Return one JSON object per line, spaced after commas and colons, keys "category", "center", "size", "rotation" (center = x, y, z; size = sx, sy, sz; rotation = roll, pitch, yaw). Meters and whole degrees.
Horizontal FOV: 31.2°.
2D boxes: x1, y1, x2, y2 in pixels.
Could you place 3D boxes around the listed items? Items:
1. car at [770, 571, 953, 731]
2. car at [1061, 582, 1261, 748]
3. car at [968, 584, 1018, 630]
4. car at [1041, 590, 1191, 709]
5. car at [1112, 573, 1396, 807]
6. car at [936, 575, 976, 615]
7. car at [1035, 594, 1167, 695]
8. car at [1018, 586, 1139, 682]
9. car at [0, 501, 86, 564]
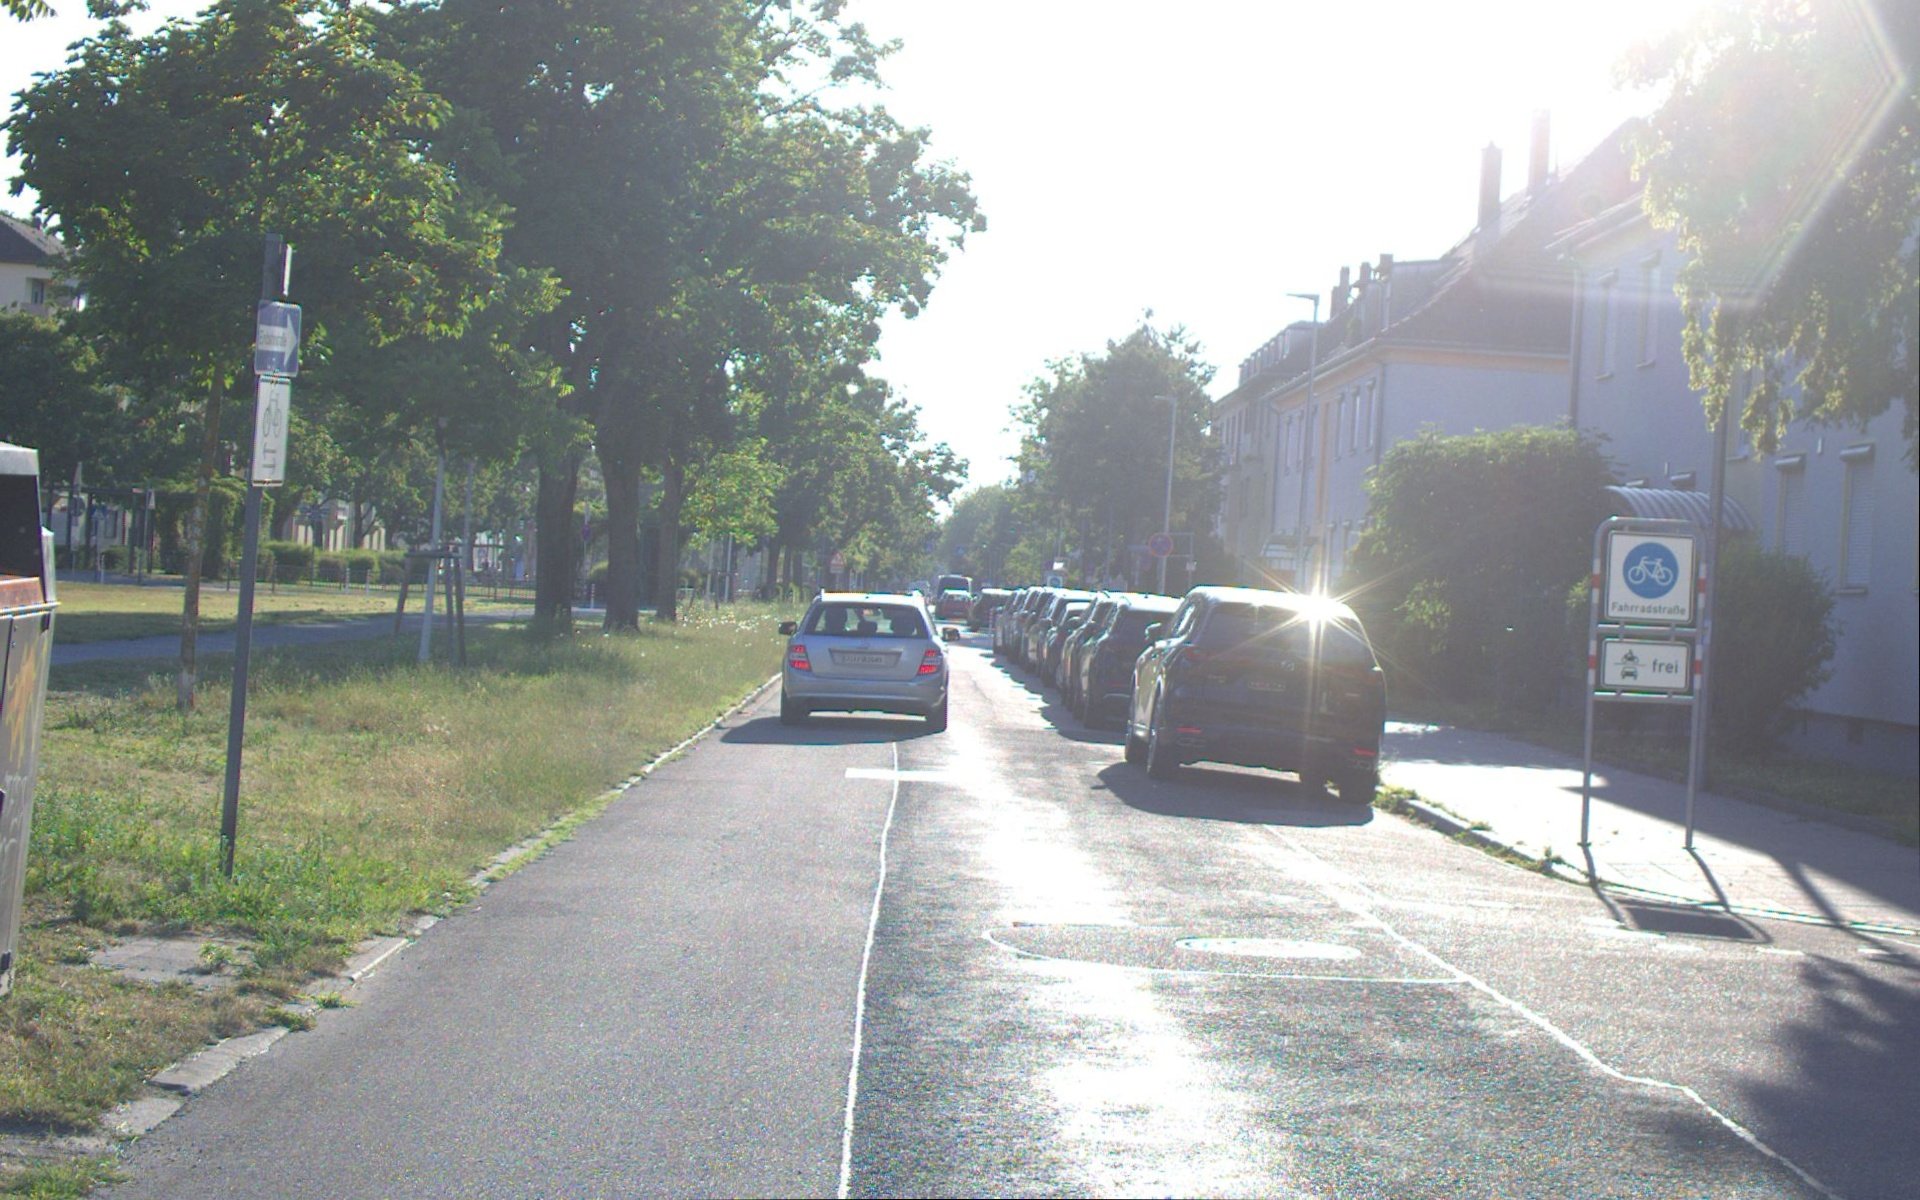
{"category": "car", "center": [-1.011, 0.507, 37.196], "size": [1.823, 1.561, 4.000], "rotation": [2, 1, 0]}
{"category": "car", "center": [2.391, 0.736, 42.048], "size": [1.933, 1.714, 4.621], "rotation": [6, 0, -1]}
{"category": "car", "center": [1.218, 0.285, 128.422], "size": [1.721, 1.591, 4.000], "rotation": [3, -1, 0]}
{"category": "car", "center": [2.361, 0.737, 53.017], "size": [1.728, 1.543, 4.208], "rotation": [8, -1, -3]}
{"category": "car", "center": [2.493, 0.742, 30.349], "size": [1.832, 1.726, 5.032], "rotation": [5, 0, -1]}
{"category": "car", "center": [-0.218, -0.260, 186.688], "size": [1.988, 2.016, 4.000], "rotation": [3, 0, 0]}
{"category": "car", "center": [2.333, 0.721, 57.964], "size": [1.993, 1.457, 4.561], "rotation": [5, 0, 1]}
{"category": "car", "center": [2.137, 0.594, 63.139], "size": [1.724, 1.556, 4.417], "rotation": [4, 0, -3]}
{"category": "car", "center": [-44.067, -3.186, 159.585], "size": [6.294, 2.711, 2.003], "rotation": [3, 0, -31]}
